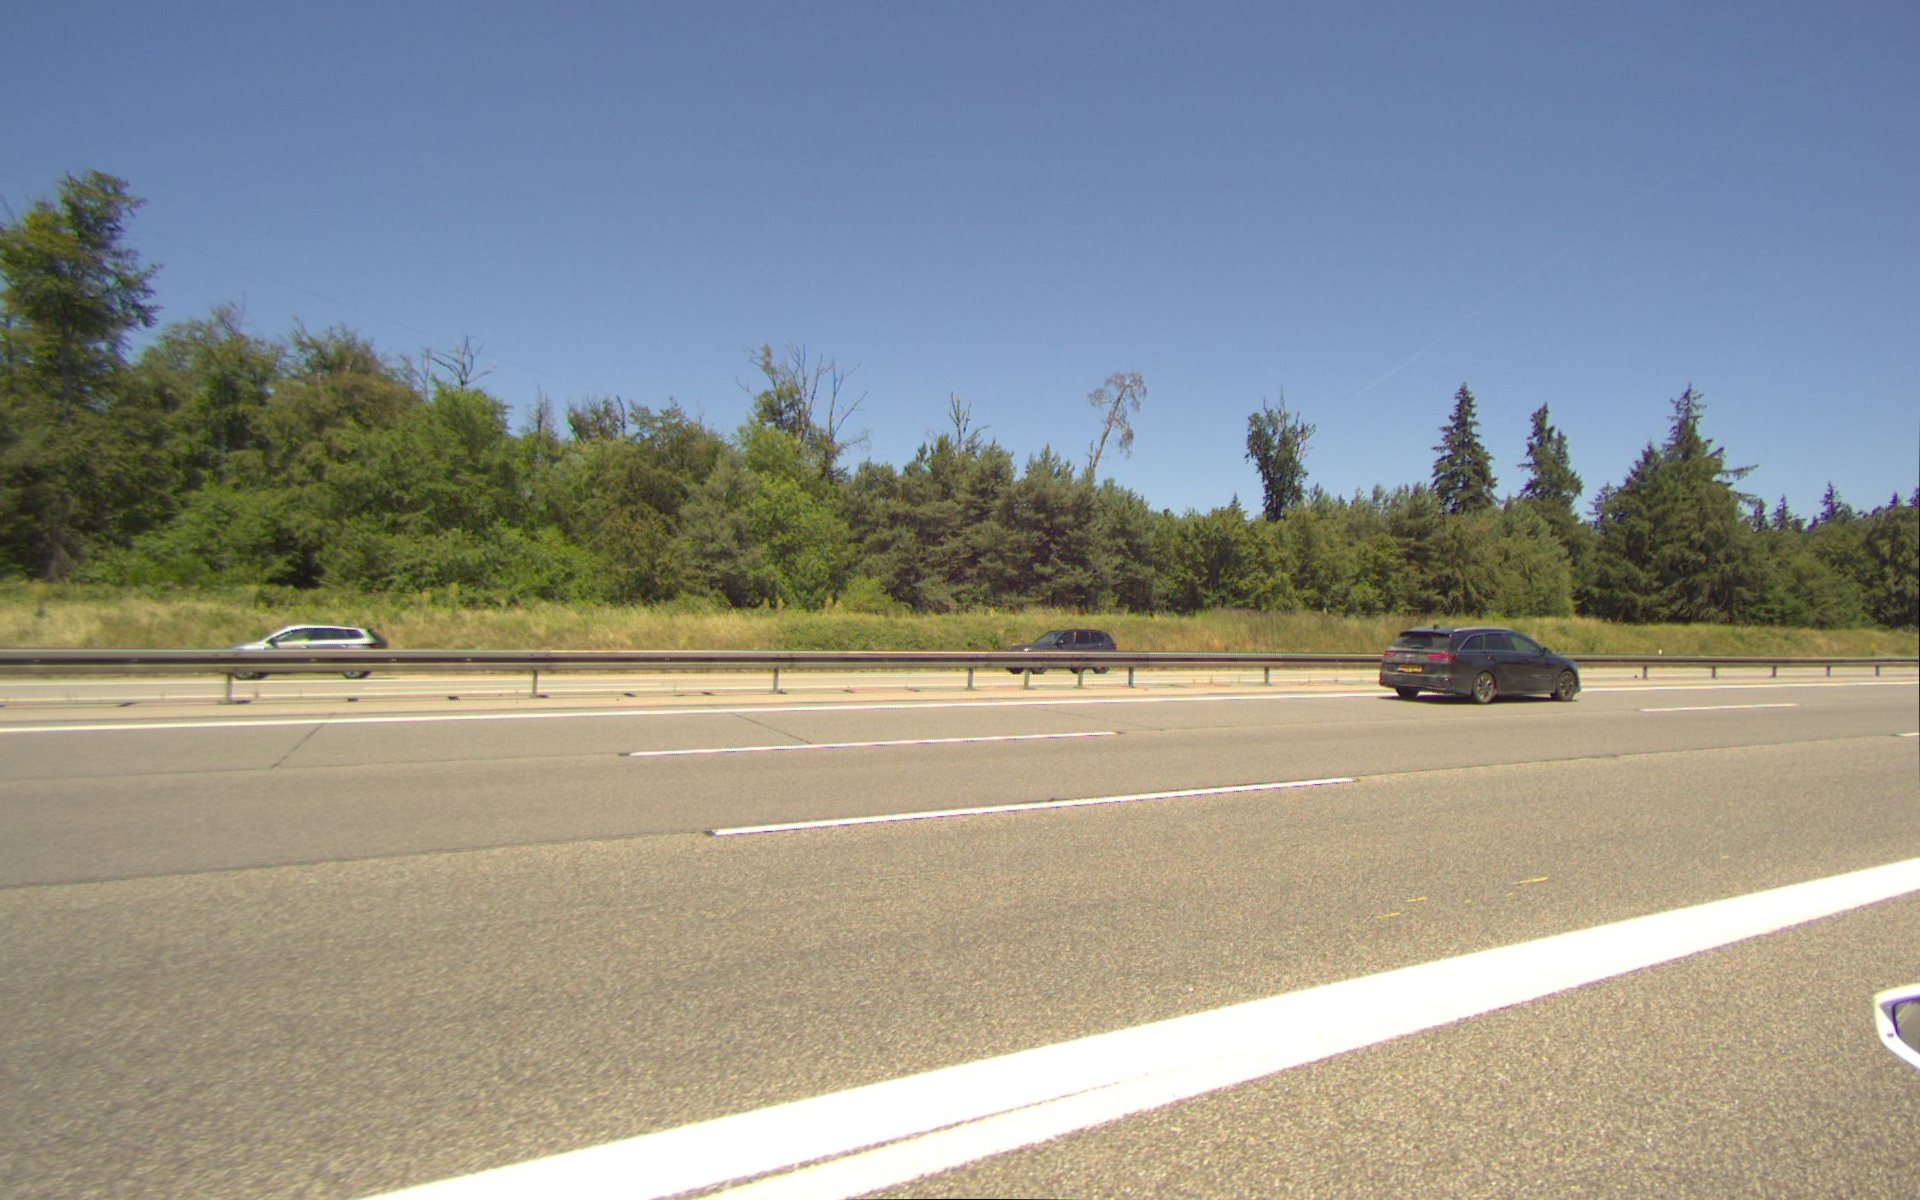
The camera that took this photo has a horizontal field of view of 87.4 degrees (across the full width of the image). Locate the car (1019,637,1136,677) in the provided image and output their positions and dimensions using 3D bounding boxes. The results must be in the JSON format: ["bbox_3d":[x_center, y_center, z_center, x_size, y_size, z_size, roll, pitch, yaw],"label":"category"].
[{"bbox_3d":[4.722,2.266,40.303,4.379,1.439,1.783,2,0,-27],"label":"car"}]

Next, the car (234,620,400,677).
[{"bbox_3d":[-18.723,1.411,29.474,3.951,1.547,1.552,2,0,-29],"label":"car"}]

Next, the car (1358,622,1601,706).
[{"bbox_3d":[10.377,1.203,19.976,4.936,1.451,1.825,1,0,-28],"label":"car"}]
